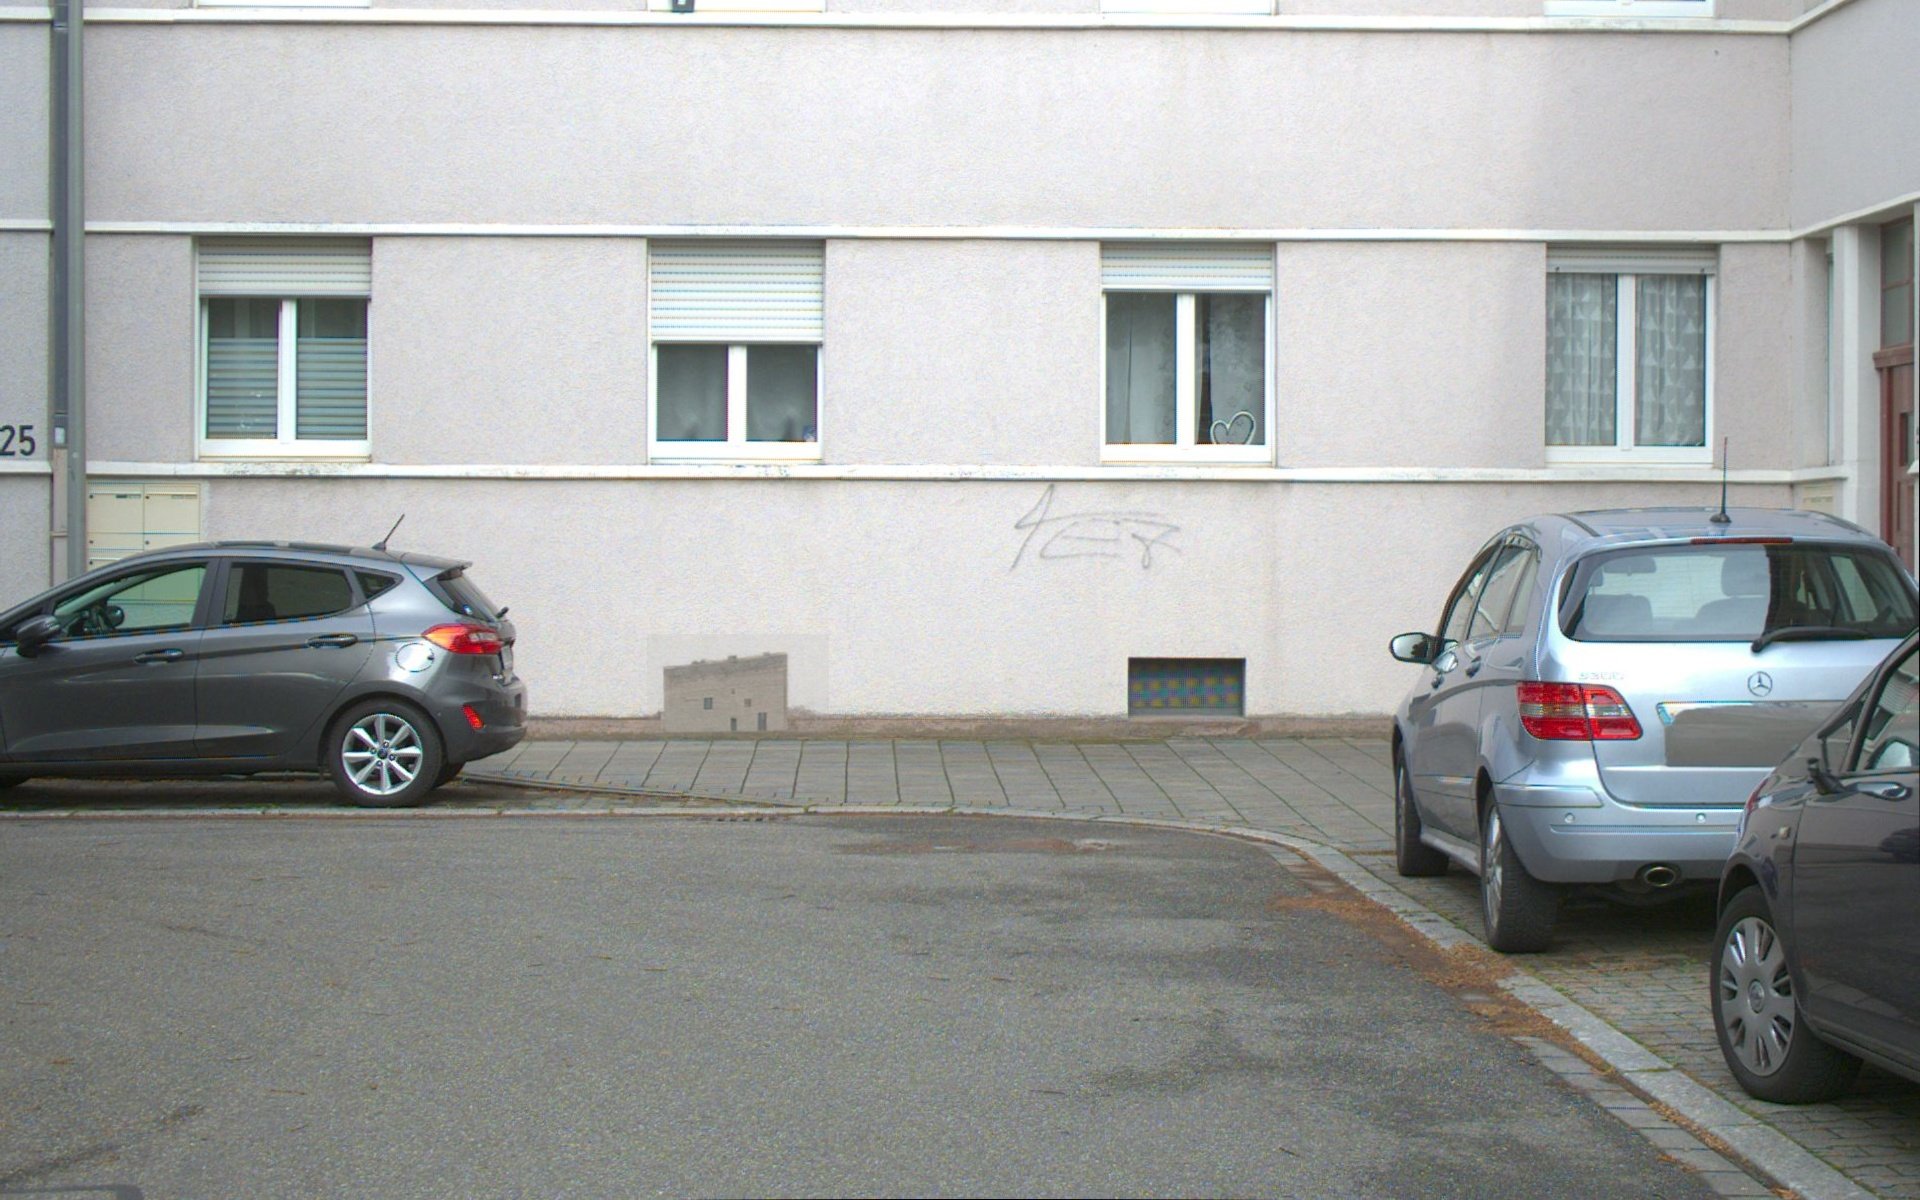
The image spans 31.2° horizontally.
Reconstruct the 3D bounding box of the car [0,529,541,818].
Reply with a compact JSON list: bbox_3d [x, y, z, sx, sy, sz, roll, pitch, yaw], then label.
[{"bbox_3d":[-4.488,0.380,19.507,4.065,1.520,1.763,1,2,-3],"label":"car"}]

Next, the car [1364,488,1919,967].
[{"bbox_3d":[2.720,0.416,13.822,1.757,1.622,4.200,0,1,1],"label":"car"}]

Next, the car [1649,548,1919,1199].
[{"bbox_3d":[2.922,0.631,7.985,1.757,1.484,3.937,0,1,-1],"label":"car"}]
